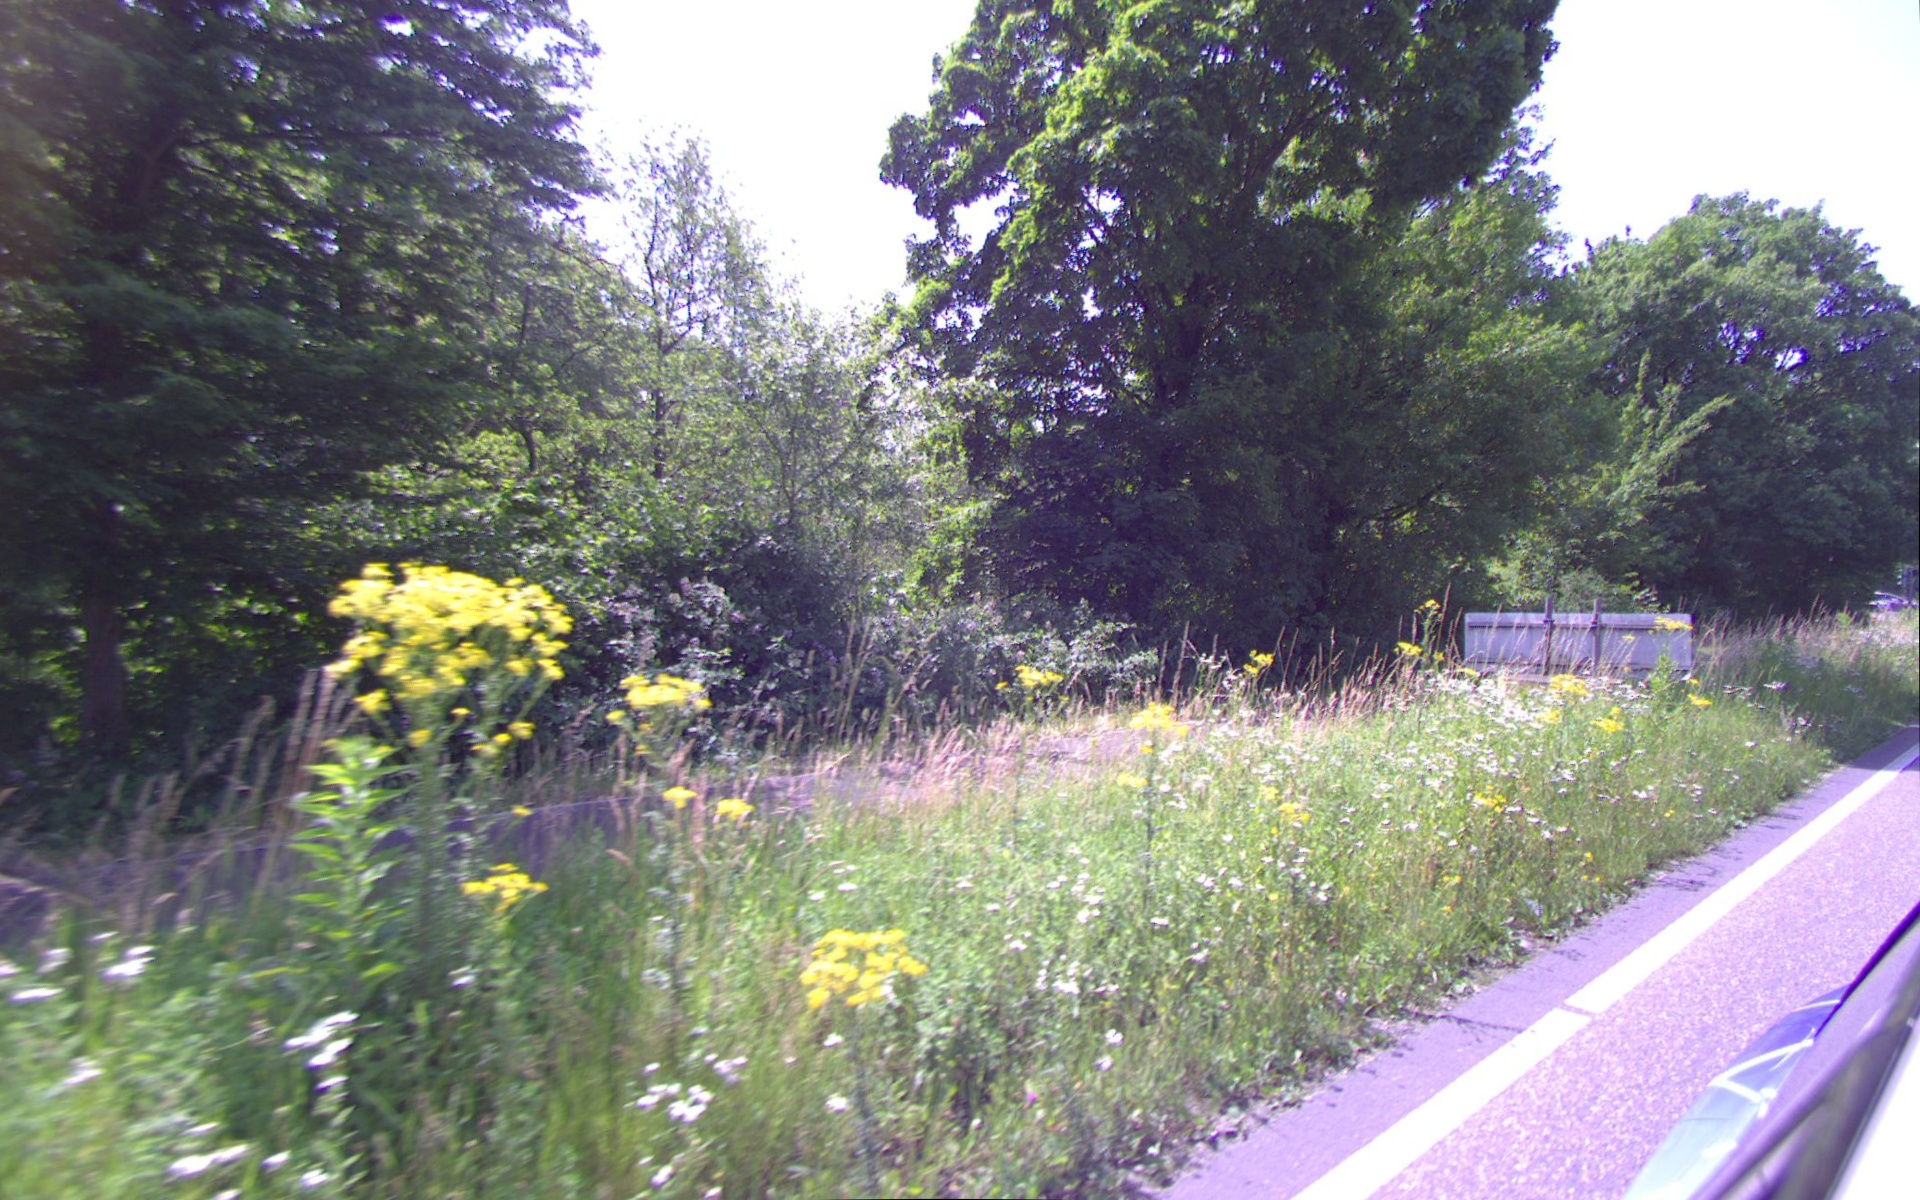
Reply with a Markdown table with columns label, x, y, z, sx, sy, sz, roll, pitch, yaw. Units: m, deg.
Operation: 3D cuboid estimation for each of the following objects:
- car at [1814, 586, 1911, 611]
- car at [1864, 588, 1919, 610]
| label | x | y | z | sx | sy | sz | roll | pitch | yaw |
| --- | --- | --- | --- | --- | --- | --- | --- | --- | --- |
| car | 65.238 | -0.151 | 73.203 | 1.984 | 1.516 | 4.946 | -1 | 3 | -38 |
| car | 69.058 | -0.072 | 74.079 | 1.961 | 1.464 | 4.100 | 0 | 3 | -41 |
